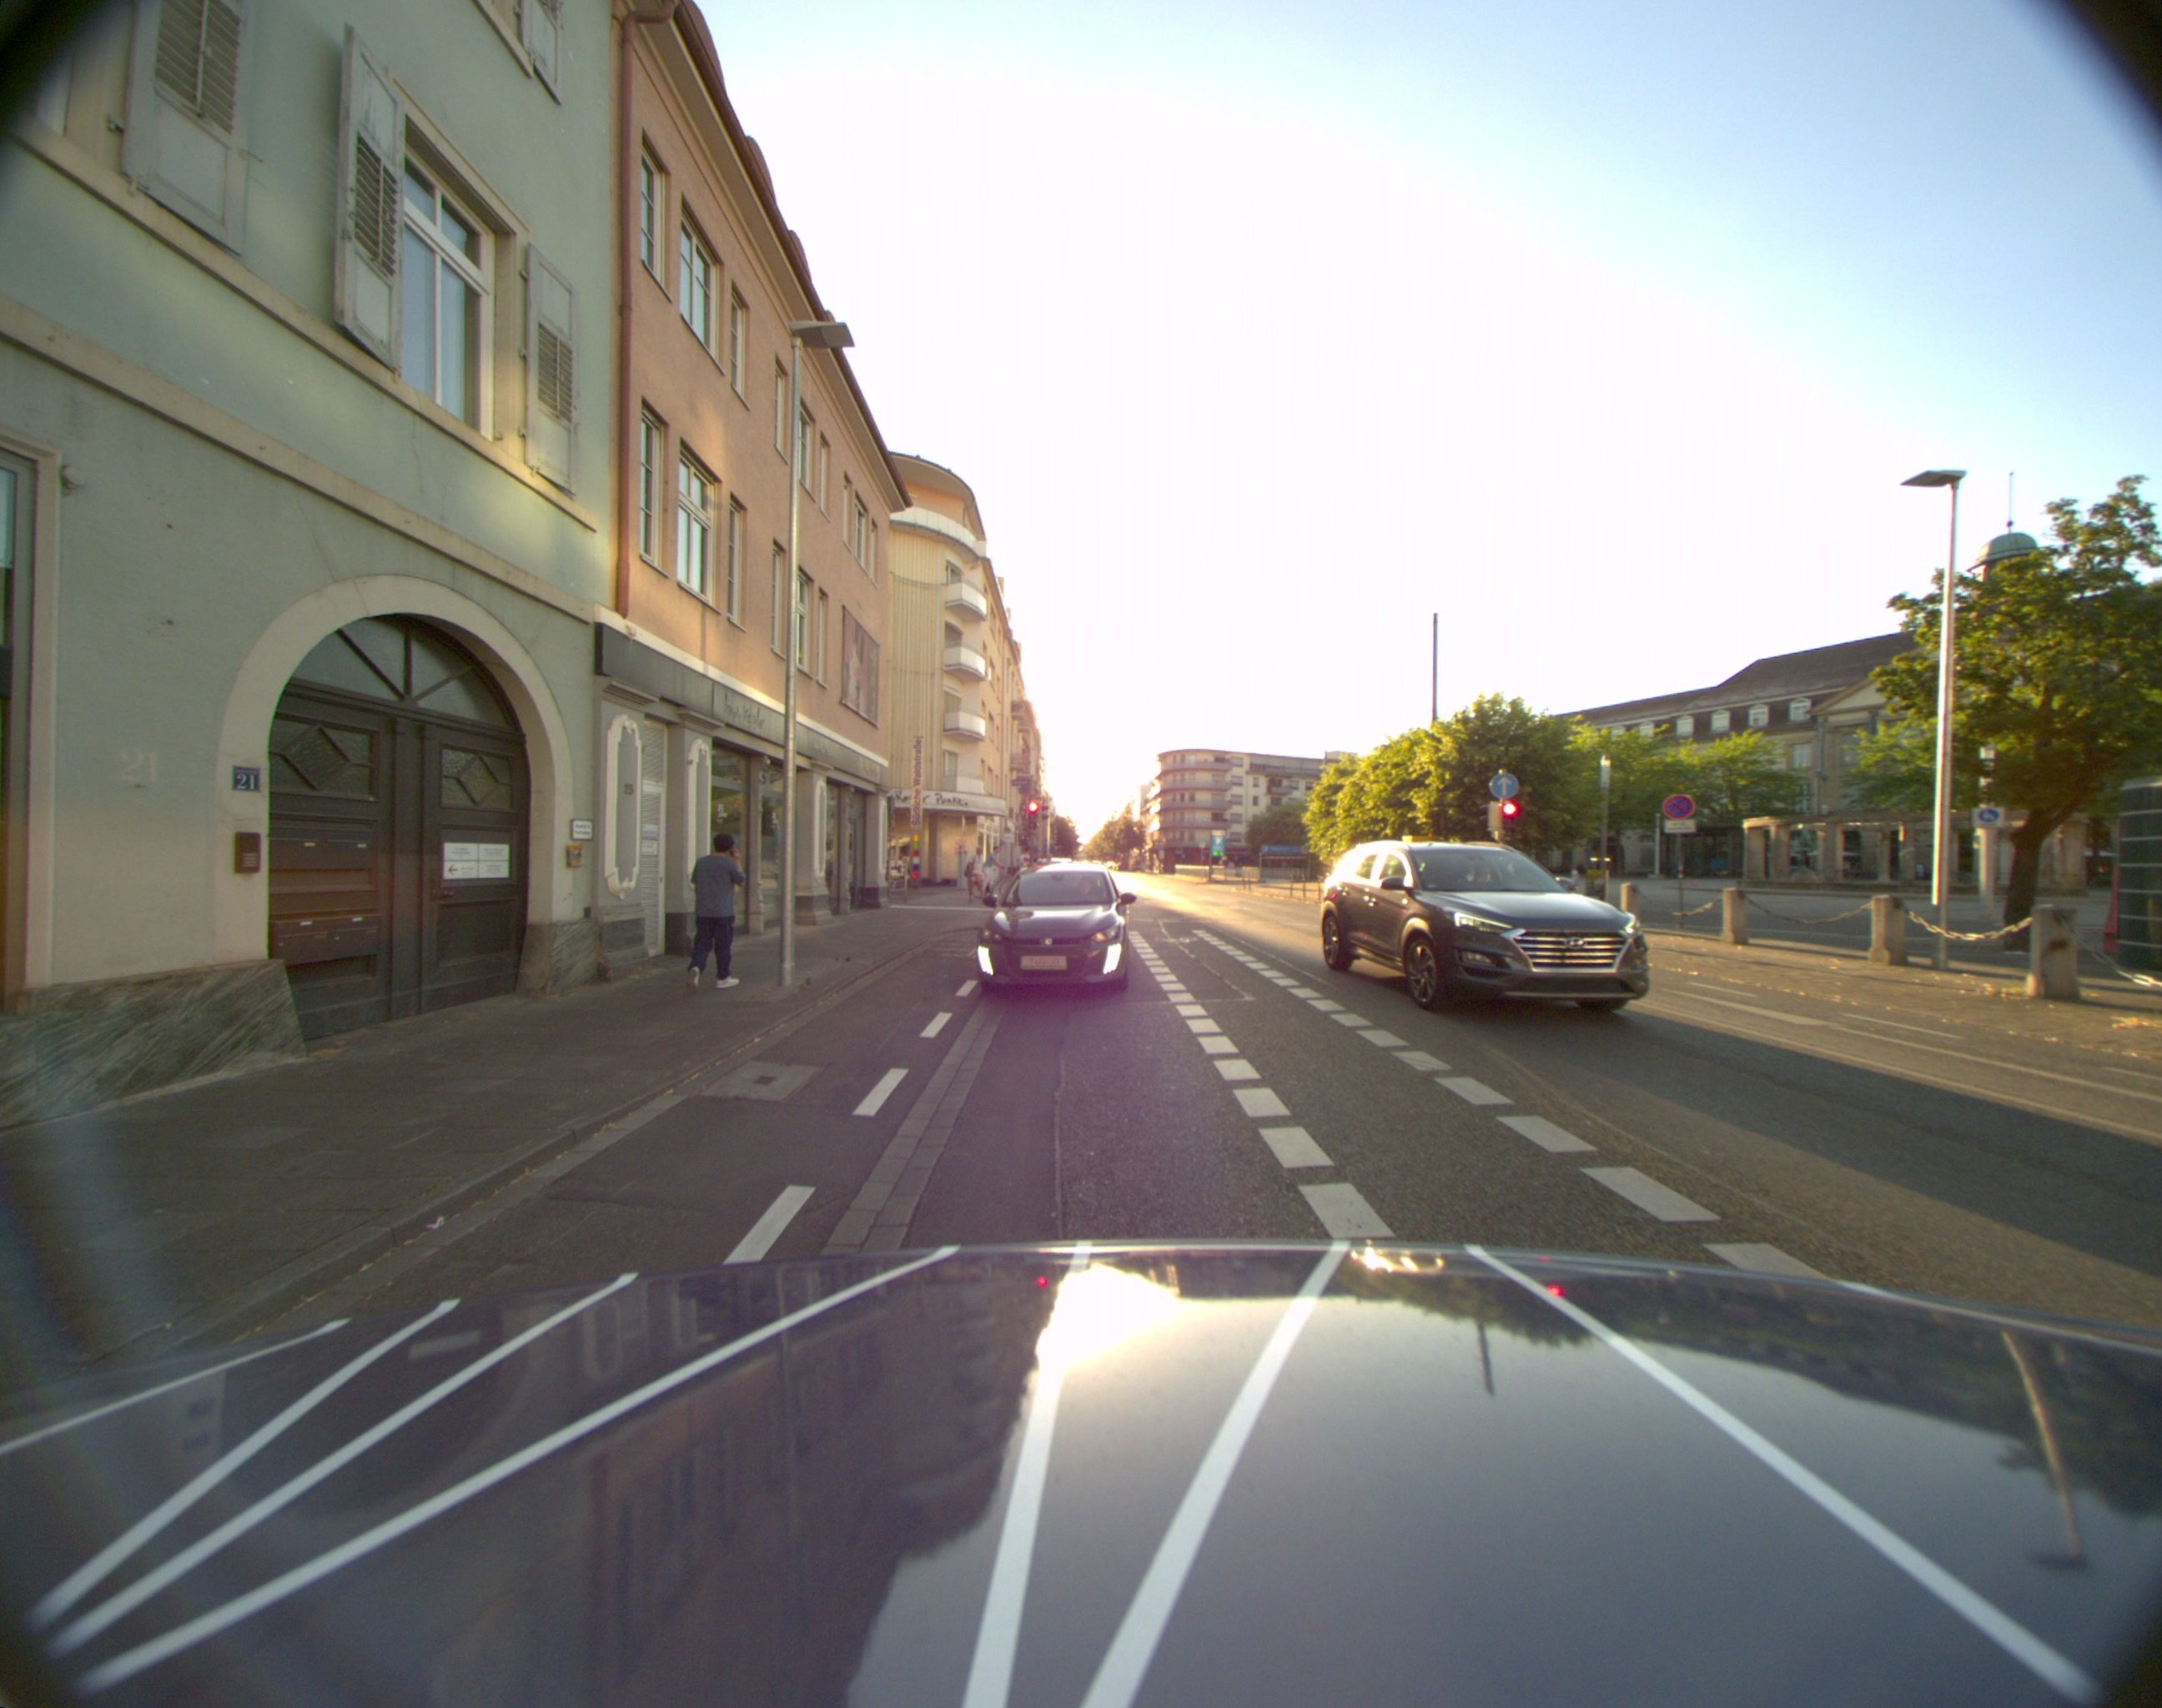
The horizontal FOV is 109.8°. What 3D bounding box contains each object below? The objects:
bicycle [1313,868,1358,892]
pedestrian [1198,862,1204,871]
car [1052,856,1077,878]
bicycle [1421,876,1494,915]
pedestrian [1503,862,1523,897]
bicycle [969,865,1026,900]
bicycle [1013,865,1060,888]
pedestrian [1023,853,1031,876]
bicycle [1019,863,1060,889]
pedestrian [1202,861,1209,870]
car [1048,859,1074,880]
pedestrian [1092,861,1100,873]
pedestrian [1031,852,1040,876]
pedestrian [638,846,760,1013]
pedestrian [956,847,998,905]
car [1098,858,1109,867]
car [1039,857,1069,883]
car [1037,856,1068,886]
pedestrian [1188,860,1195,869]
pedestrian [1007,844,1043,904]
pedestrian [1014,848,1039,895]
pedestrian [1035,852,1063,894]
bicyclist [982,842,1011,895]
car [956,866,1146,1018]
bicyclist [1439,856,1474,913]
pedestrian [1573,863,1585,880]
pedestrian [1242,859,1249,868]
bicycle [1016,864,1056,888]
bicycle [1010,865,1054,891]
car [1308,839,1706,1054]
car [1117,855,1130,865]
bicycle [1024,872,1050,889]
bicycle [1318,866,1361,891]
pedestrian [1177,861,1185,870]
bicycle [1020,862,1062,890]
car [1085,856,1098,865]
[{"bbox_3d":[12.454,1.246,37.168,2.031,1.128,0.548,-1,0,-4],"label":"bicycle"},{"bbox_3d":[17.461,1.769,110.176,0.732,1.314,0.889,0,0,-1],"label":"pedestrian"},{"bbox_3d":[-1.291,1.033,61.213,1.877,1.664,4.430,0,0,0],"label":"car"},{"bbox_3d":[11.647,1.271,23.581,1.917,1.111,0.706,1,0,17],"label":"bicycle"},{"bbox_3d":[20.318,1.174,35.762,0.703,1.611,0.842,0,1,37],"label":"pedestrian"},{"bbox_3d":[-2.926,0.978,26.633,1.823,1.179,0.794,1,0,9],"label":"bicycle"},{"bbox_3d":[-2.122,1.071,36.428,2.176,1.069,0.805,2,0,-7],"label":"bicycle"},{"bbox_3d":[-4.635,0.896,65.382,0.673,2.002,0.851,0,0,0],"label":"pedestrian"},{"bbox_3d":[-1.943,1.021,35.476,1.788,1.166,0.622,2,0,-11],"label":"bicycle"},{"bbox_3d":[18.169,1.611,110.890,0.689,1.314,0.819,0,0,-24],"label":"pedestrian"},{"bbox_3d":[-1.401,1.105,55.662,1.738,1.448,4.610,0,0,1],"label":"car"},{"bbox_3d":[1.788,1.570,92.223,0.678,1.508,0.676,1,0,-42],"label":"pedestrian"},{"bbox_3d":[-3.908,0.871,65.385,0.763,2.002,0.851,0,0,0],"label":"pedestrian"},{"bbox_3d":[-3.923,0.740,7.867,0.825,1.632,0.871,1,0,-2],"label":"pedestrian"},{"bbox_3d":[-3.253,0.673,23.726,0.828,1.764,1.098,1,0,-38],"label":"pedestrian"},{"bbox_3d":[4.034,1.552,135.259,1.790,1.458,3.956,1,0,-1],"label":"car"},{"bbox_3d":[-1.733,1.004,50.039,1.821,1.611,4.203,0,0,0],"label":"car"},{"bbox_3d":[-1.630,0.952,43.762,1.702,1.607,4.682,0,0,-2],"label":"car"},{"bbox_3d":[15.838,1.486,108.804,0.887,1.185,0.733,0,0,9],"label":"pedestrian"},{"bbox_3d":[-1.815,0.622,24.426,0.942,1.886,0.824,1,0,-21],"label":"pedestrian"},{"bbox_3d":[-2.163,0.674,29.874,0.826,1.806,0.870,1,0,-13],"label":"pedestrian"},{"bbox_3d":[-1.295,0.760,30.828,0.789,1.643,0.782,1,0,43],"label":"pedestrian"},{"bbox_3d":[-2.957,0.515,26.631,0.835,1.815,0.831,1,0,8],"label":"bicyclist"},{"bbox_3d":[-0.164,0.914,9.828,1.908,1.438,4.451,0,0,4],"label":"car"},{"bbox_3d":[11.642,0.930,23.585,0.777,1.714,0.856,1,0,15],"label":"bicyclist"},{"bbox_3d":[30.748,1.084,46.910,0.461,1.057,0.531,-1,-2,20],"label":"pedestrian"},{"bbox_3d":[24.199,1.357,111.746,0.731,1.314,0.891,0,0,39],"label":"pedestrian"},{"bbox_3d":[-2.216,1.061,37.427,1.851,1.117,0.594,2,1,-11],"label":"bicycle"},{"bbox_3d":[-2.137,1.060,33.159,1.788,1.057,0.718,2,0,-11],"label":"bicycle"},{"bbox_3d":[4.088,0.760,8.333,1.877,1.679,4.450,1,0,1],"label":"car"},{"bbox_3d":[7.511,1.085,134.950,1.999,1.805,3.999,0,0,-2],"label":"car"},{"bbox_3d":[-1.888,1.141,32.522,1.008,0.677,1.049,1,0,-9],"label":"bicycle"},{"bbox_3d":[13.154,1.241,38.709,2.031,1.245,0.548,-1,0,-4],"label":"bicycle"},{"bbox_3d":[14.346,1.650,108.601,0.890,1.314,0.731,0,0,-27],"label":"pedestrian"},{"bbox_3d":[-1.806,0.983,34.096,1.849,1.232,0.639,1,0,-5],"label":"bicycle"},{"bbox_3d":[2.041,1.364,148.771,1.878,1.621,4.177,3,-1,-5],"label":"car"}]
